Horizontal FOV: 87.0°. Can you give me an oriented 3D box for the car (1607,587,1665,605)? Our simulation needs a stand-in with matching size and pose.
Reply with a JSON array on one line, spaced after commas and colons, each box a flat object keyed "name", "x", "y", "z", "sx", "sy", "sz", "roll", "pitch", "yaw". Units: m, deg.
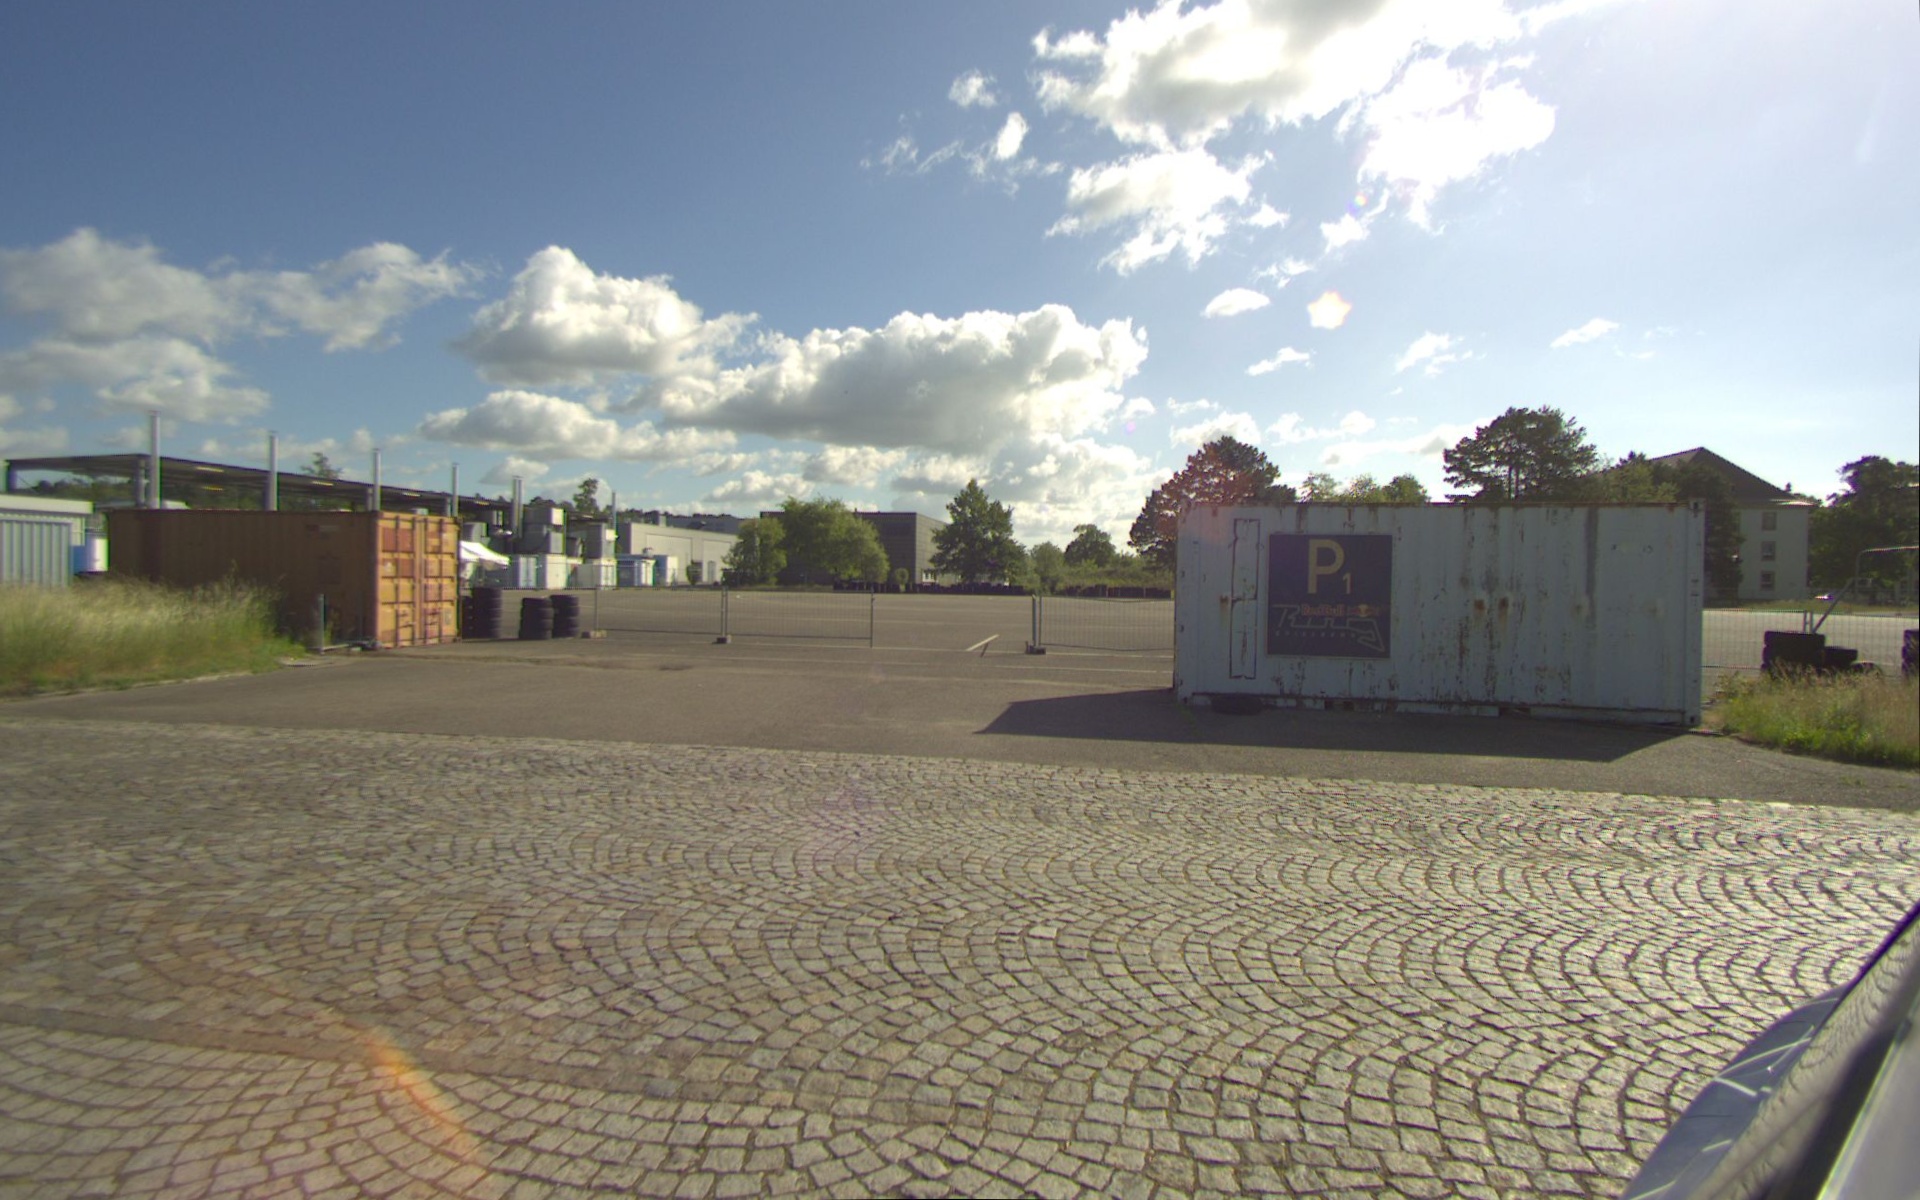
[{"name": "car", "x": 62.780, "y": -0.410, "z": 94.001, "sx": 3.930, "sy": 1.602, "sz": 1.997, "roll": 1, "pitch": 1, "yaw": 6}]
